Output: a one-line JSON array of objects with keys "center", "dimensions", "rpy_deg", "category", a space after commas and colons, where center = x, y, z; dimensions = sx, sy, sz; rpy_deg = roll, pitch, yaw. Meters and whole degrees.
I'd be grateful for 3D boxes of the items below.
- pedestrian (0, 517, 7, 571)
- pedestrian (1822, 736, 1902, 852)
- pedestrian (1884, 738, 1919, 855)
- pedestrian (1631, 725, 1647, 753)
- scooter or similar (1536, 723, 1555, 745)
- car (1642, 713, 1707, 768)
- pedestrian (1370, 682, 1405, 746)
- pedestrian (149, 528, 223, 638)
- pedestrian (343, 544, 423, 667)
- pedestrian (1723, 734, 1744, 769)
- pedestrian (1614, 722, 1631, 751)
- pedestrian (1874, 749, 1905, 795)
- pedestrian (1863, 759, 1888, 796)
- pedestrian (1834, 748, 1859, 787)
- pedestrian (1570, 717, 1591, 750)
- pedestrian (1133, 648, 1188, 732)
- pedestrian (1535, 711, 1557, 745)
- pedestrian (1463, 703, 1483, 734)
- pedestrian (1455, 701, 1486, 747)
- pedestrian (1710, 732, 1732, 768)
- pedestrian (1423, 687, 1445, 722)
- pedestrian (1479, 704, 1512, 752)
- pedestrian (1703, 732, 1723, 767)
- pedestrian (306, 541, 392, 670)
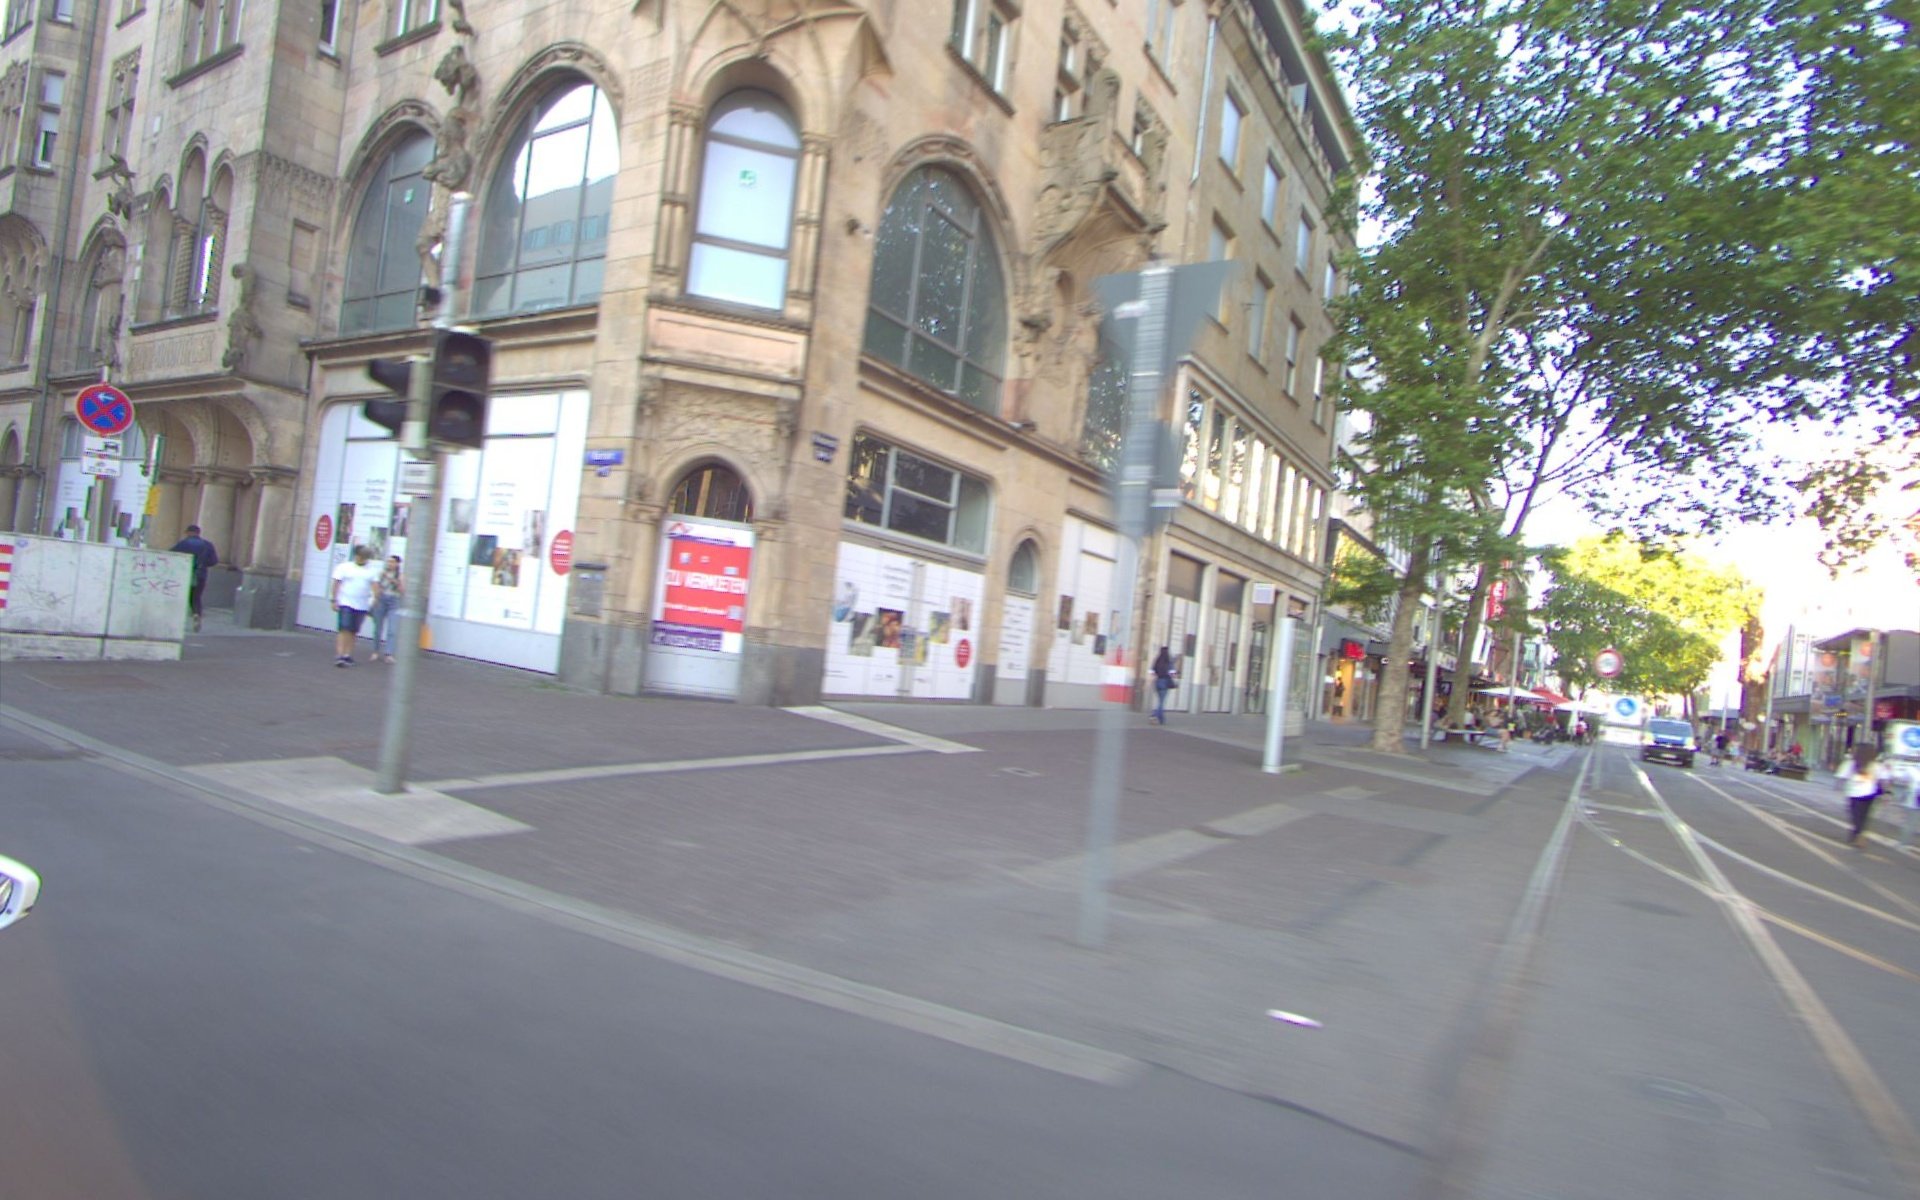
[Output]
[{"center": [-15.270, -0.464, 15.265], "dimensions": [0.670, 1.740, 0.837], "rpy_deg": [6, -2, 25], "category": "pedestrian"}, {"center": [14.427, 3.081, 16.114], "dimensions": [0.715, 1.679, 0.778], "rpy_deg": [5, -3, 33], "category": "pedestrian"}, {"center": [14.980, 3.071, 15.606], "dimensions": [0.702, 1.753, 0.778], "rpy_deg": [5, -3, 33], "category": "pedestrian"}, {"center": [44.910, 9.177, 66.540], "dimensions": [0.748, 1.746, 0.663], "rpy_deg": [5, -3, 33], "category": "pedestrian"}, {"center": [29.853, 6.819, 51.296], "dimensions": [0.773, 0.979, 0.663], "rpy_deg": [5, -4, 33], "category": "scooter or similar"}, {"center": [31.469, 6.233, 44.411], "dimensions": [1.968, 2.035, 4.291], "rpy_deg": [5, -4, 33], "category": "car"}, {"center": [13.068, 3.478, 30.774], "dimensions": [0.702, 1.843, 0.778], "rpy_deg": [6, -3, 33], "category": "pedestrian"}, {"center": [-12.834, -0.276, 16.690], "dimensions": [0.660, 1.709, 0.626], "rpy_deg": [6, -1, 31], "category": "pedestrian"}, {"center": [-8.480, 0.086, 14.792], "dimensions": [0.616, 1.709, 0.626], "rpy_deg": [6, -1, 31], "category": "pedestrian"}, {"center": [37.930, 7.438, 49.348], "dimensions": [0.652, 1.628, 0.663], "rpy_deg": [5, -3, 33], "category": "pedestrian"}, {"center": [43.709, 9.003, 66.365], "dimensions": [0.748, 1.746, 0.663], "rpy_deg": [5, -3, 33], "category": "pedestrian"}, {"center": [35.114, 6.485, 38.005], "dimensions": [0.652, 1.628, 0.663], "rpy_deg": [5, -3, 33], "category": "pedestrian"}, {"center": [43.958, 8.520, 48.302], "dimensions": [0.652, 1.628, 0.663], "rpy_deg": [5, -3, 33], "category": "pedestrian"}, {"center": [40.367, 7.621, 45.799], "dimensions": [0.652, 1.628, 0.663], "rpy_deg": [5, -3, 33], "category": "pedestrian"}, {"center": [33.134, 7.130, 53.748], "dimensions": [0.820, 1.628, 0.663], "rpy_deg": [5, -3, 33], "category": "pedestrian"}, {"center": [4.230, 1.901, 21.195], "dimensions": [0.702, 1.628, 0.821], "rpy_deg": [5, -3, 32], "category": "pedestrian"}, {"center": [30.218, 6.579, 51.845], "dimensions": [0.820, 1.628, 0.663], "rpy_deg": [5, -3, 33], "category": "pedestrian"}, {"center": [29.427, 6.784, 57.669], "dimensions": [0.820, 1.628, 0.663], "rpy_deg": [5, -3, 33], "category": "pedestrian"}, {"center": [17.250, 4.194, 33.983], "dimensions": [0.770, 1.430, 0.778], "rpy_deg": [5, -3, 33], "category": "pedestrian"}, {"center": [36.963, 7.274, 48.867], "dimensions": [0.652, 1.628, 0.663], "rpy_deg": [5, -3, 33], "category": "pedestrian"}, {"center": [24.157, 5.322, 51.282], "dimensions": [0.820, 1.628, 0.663], "rpy_deg": [5, -3, 33], "category": "pedestrian"}, {"center": [17.331, 4.160, 32.556], "dimensions": [0.766, 1.430, 0.782], "rpy_deg": [5, -3, 33], "category": "pedestrian"}, {"center": [37.227, 7.371, 49.742], "dimensions": [0.652, 1.628, 0.663], "rpy_deg": [5, -3, 33], "category": "pedestrian"}, {"center": [-8.522, 0.082, 14.031], "dimensions": [0.660, 1.709, 0.626], "rpy_deg": [6, -1, 31], "category": "pedestrian"}]
